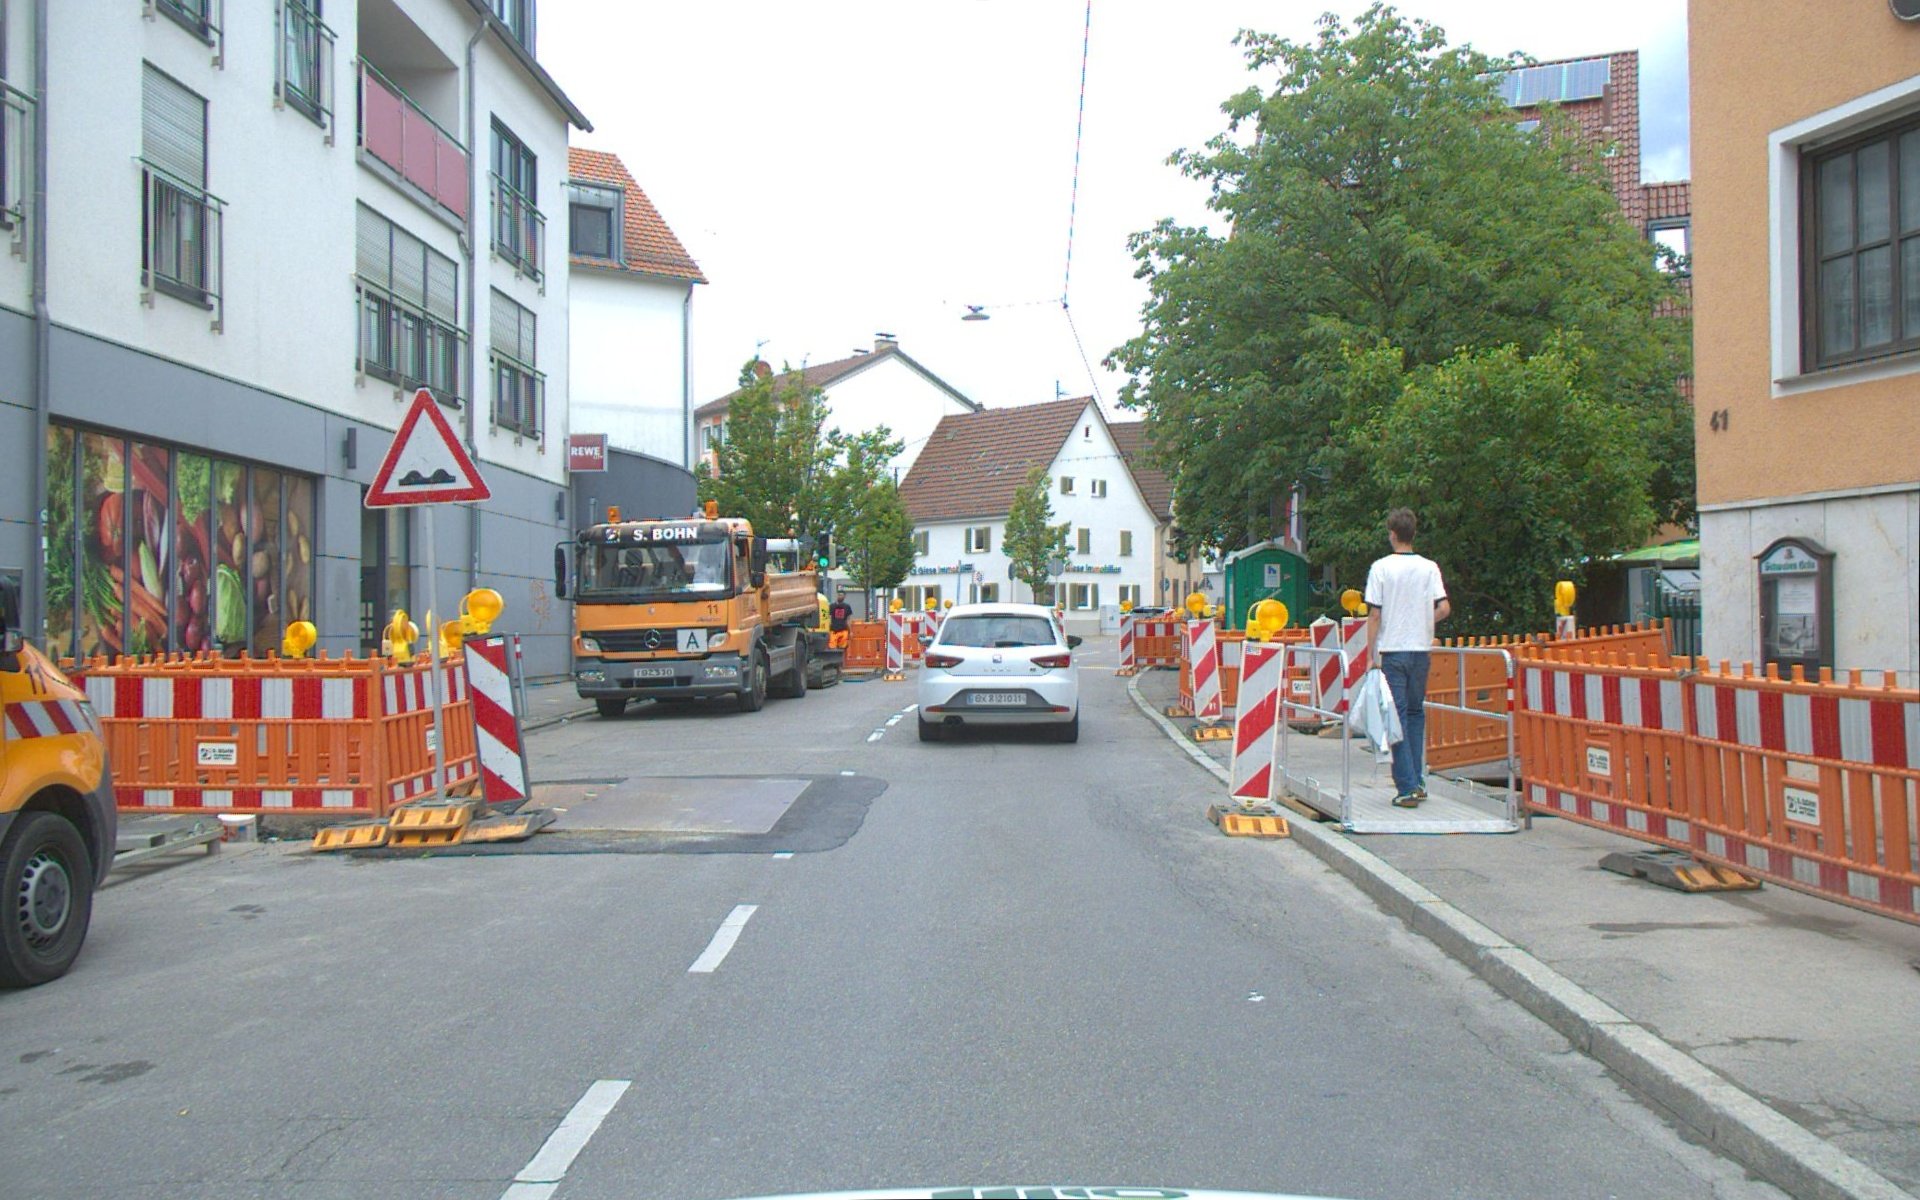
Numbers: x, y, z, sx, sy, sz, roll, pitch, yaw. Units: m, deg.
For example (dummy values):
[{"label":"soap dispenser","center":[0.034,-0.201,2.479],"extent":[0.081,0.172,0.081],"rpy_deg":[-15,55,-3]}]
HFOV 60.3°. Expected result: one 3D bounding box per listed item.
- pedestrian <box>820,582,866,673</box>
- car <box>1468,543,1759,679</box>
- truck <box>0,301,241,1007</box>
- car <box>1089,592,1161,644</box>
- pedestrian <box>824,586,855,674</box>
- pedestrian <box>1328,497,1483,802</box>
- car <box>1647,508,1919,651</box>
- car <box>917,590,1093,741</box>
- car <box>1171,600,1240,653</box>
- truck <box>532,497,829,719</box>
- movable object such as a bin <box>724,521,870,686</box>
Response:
[{"label":"pedestrian","center":[-2.399,0.558,33.856],"extent":[0.797,1.847,0.744],"rpy_deg":[0,0,7]},{"label":"car","center":[10.649,0.183,27.000],"extent":[4.136,2.069,1.995],"rpy_deg":[-1,0,31]},{"label":"truck","center":[-4.617,0.224,4.578],"extent":[2.364,2.509,6.308],"rpy_deg":[-1,0,1]},{"label":"car","center":[5.153,0.526,51.206],"extent":[1.773,1.506,3.874],"rpy_deg":[-1,0,12]},{"label":"pedestrian","center":[-2.457,0.609,33.833],"extent":[0.526,1.774,0.444],"rpy_deg":[-1,0,8]},{"label":"pedestrian","center":[3.019,0.319,11.280],"extent":[0.782,1.984,0.836],"rpy_deg":[-1,0,-1]},{"label":"car","center":[10.405,-0.230,19.499],"extent":[3.907,1.590,1.746],"rpy_deg":[0,0,-3]},{"label":"car","center":[0.488,0.652,18.670],"extent":[1.774,1.506,3.871],"rpy_deg":[0,0,1]},{"label":"car","center":[9.892,1.042,66.480],"extent":[1.952,2.049,4.001],"rpy_deg":[-1,-1,20]},{"label":"truck","center":[-3.815,0.085,24.334],"extent":[2.674,2.772,6.852],"rpy_deg":[-1,0,5]},{"label":"movable object such as a bin","center":[-2.926,0.113,30.662],"extent":[1.800,2.812,4.508],"rpy_deg":[-1,-1,6]}]
